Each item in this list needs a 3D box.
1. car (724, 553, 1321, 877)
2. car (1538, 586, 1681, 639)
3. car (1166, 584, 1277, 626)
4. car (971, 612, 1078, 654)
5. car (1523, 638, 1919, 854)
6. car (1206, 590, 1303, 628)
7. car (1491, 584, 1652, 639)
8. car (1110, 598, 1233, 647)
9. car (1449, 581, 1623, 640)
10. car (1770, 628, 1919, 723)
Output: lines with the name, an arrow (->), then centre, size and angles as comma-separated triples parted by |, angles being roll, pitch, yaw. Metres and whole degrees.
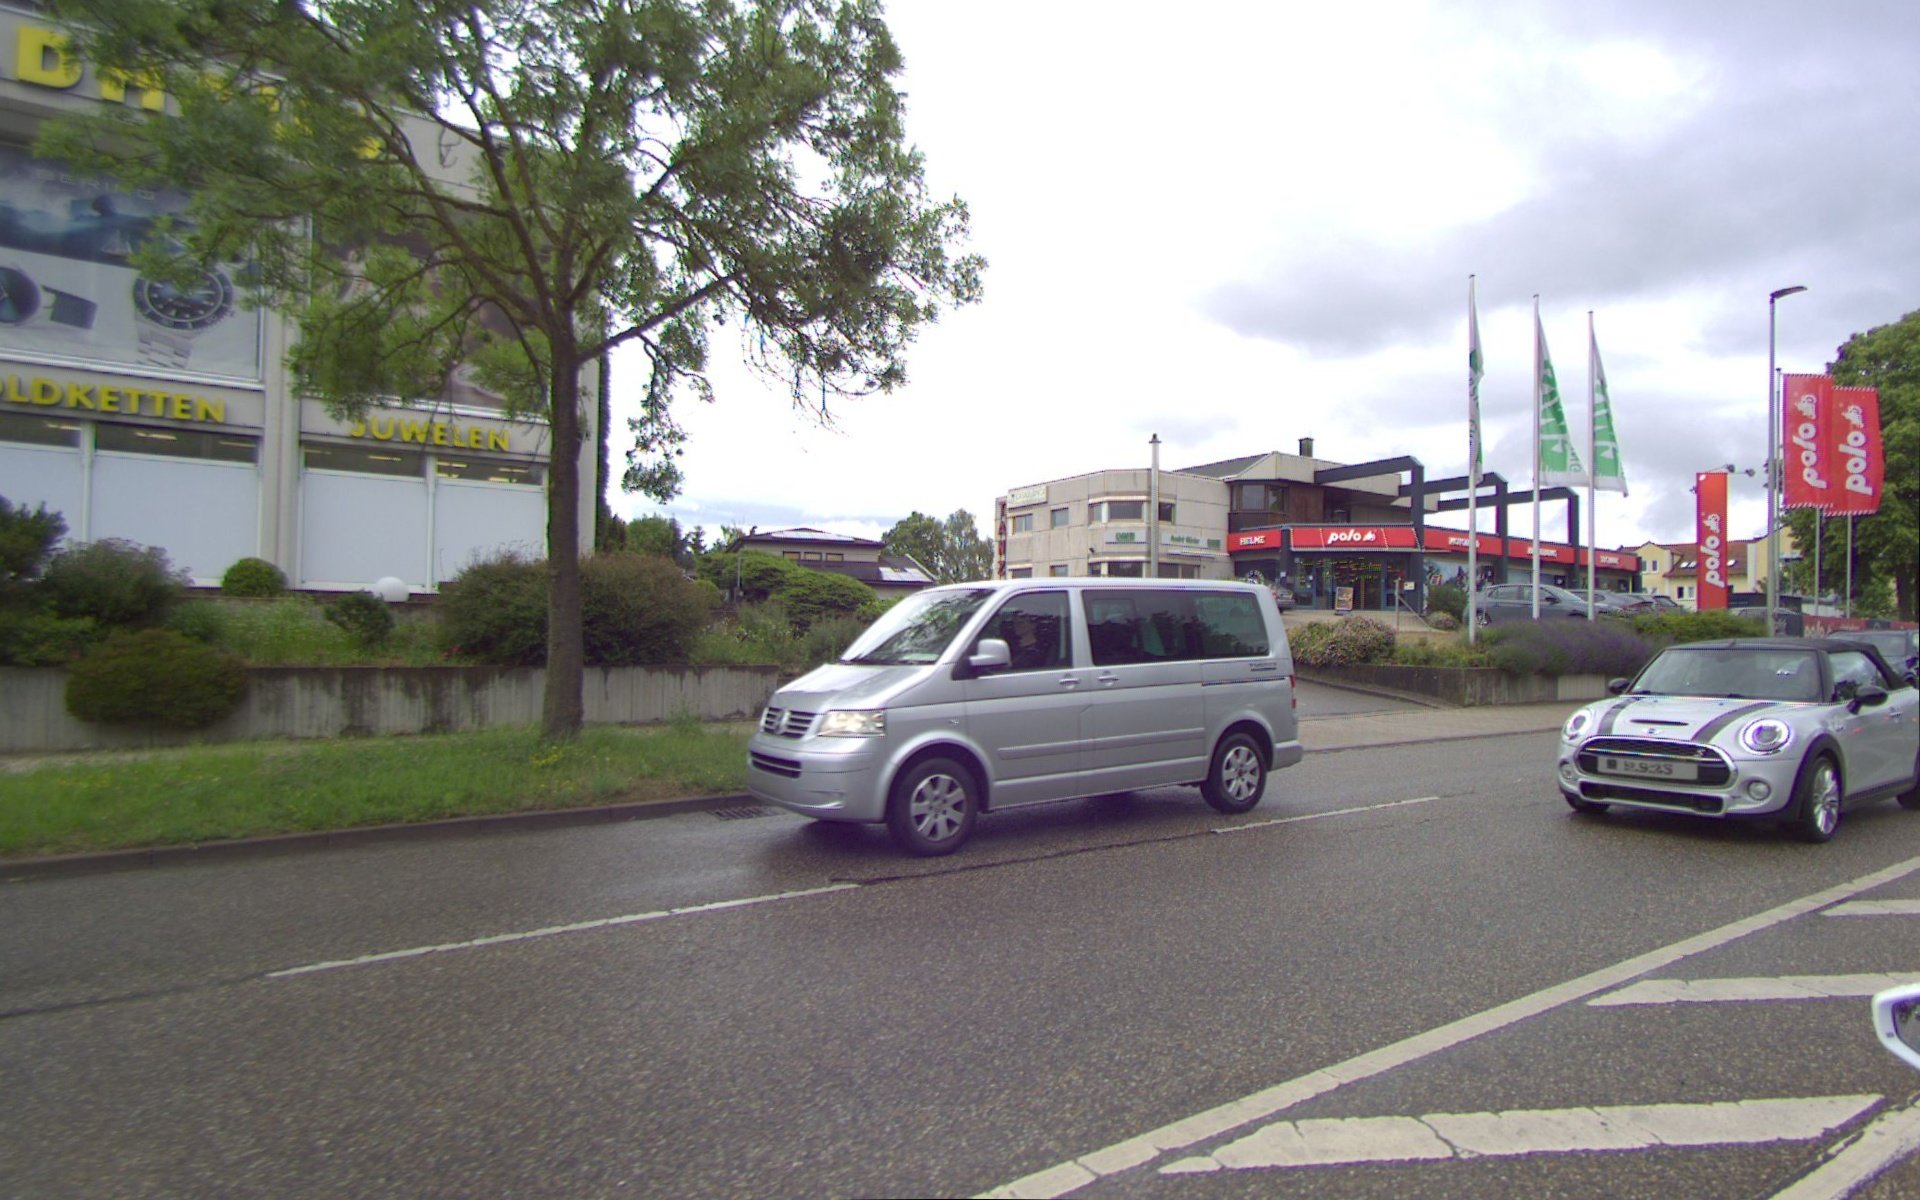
car -> 0.680, 0.793, 8.332 | 4.846, 2.008, 1.786 | 1, -3, -33
car -> 20.057, 0.432, 31.150 | 1.564, 1.529, 3.398 | 1, -2, -31
car -> 9.889, 0.228, 38.188 | 1.856, 1.502, 3.802 | 1, -2, -35
car -> 2.536, 1.303, 39.026 | 4.015, 1.532, 1.663 | 2, -3, -36
car -> 6.625, 1.043, 8.435 | 3.957, 1.416, 1.658 | 1, -3, -33
car -> 12.716, 0.431, 43.583 | 1.851, 1.532, 3.975 | 1, -2, -27
car -> 17.729, 0.365, 29.247 | 1.726, 1.502, 3.621 | 1, -2, -37
car -> 7.067, 0.770, 33.502 | 3.956, 1.532, 1.666 | 1, -3, -31
car -> 15.732, 0.336, 27.599 | 1.726, 1.502, 3.799 | 1, -2, -37
car -> 17.532, 1.371, 19.269 | 4.483, 1.631, 1.742 | 1, -3, -33
